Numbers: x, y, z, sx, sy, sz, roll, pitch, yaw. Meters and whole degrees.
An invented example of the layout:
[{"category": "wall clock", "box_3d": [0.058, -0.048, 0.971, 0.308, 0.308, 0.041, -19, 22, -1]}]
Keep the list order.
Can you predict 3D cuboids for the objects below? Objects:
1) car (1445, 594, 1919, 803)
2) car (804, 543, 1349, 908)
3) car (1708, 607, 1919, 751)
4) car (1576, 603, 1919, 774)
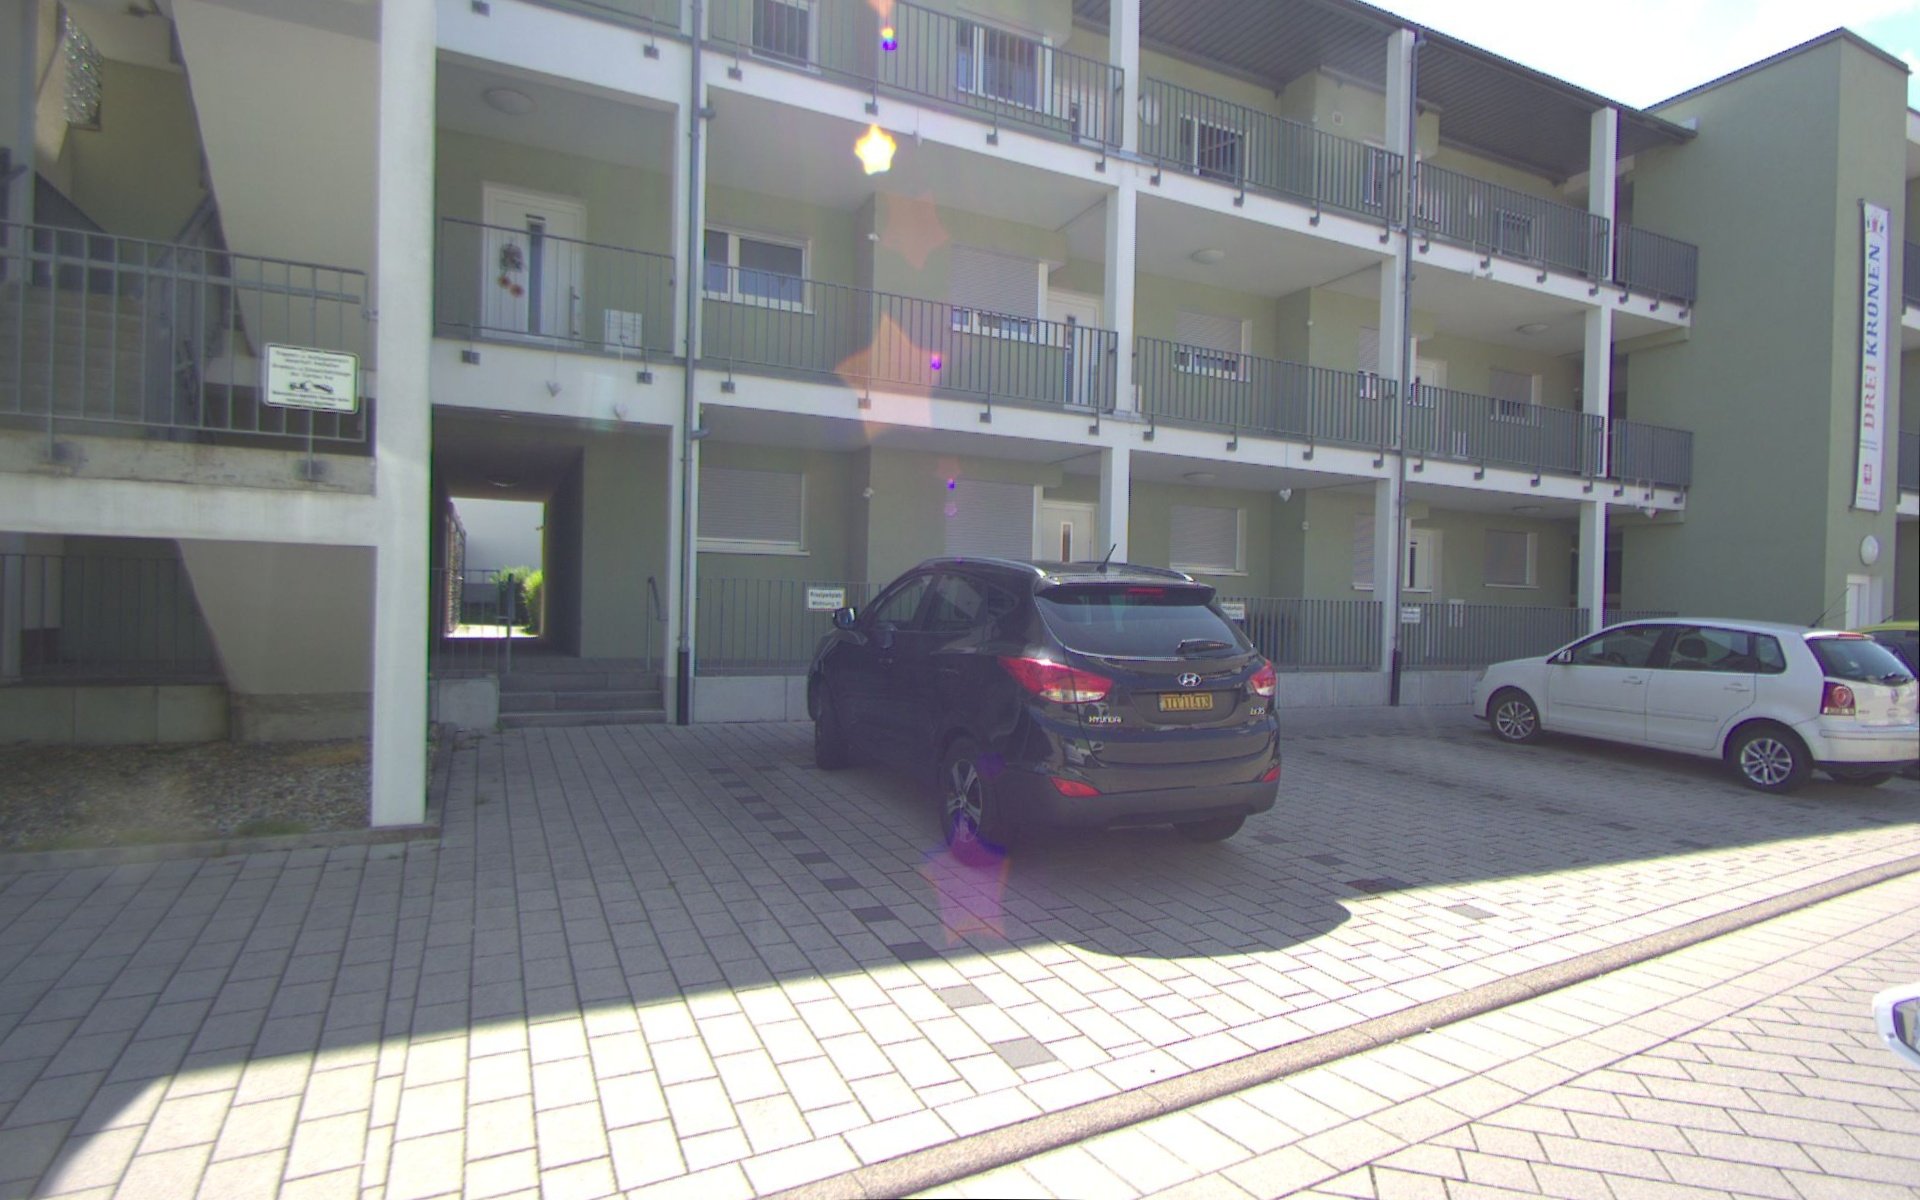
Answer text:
[{"category": "car", "box_3d": [7.222, 0.805, 10.225, 1.726, 1.523, 3.890, 1, 2, -24]}, {"category": "car", "box_3d": [0.376, 0.513, 6.890, 1.760, 1.681, 4.206, 1, 2, -24]}, {"category": "car", "box_3d": [11.672, 0.962, 12.273, 1.650, 1.546, 3.681, 1, 2, -25]}, {"category": "car", "box_3d": [9.417, 0.892, 11.253, 1.668, 1.461, 3.973, 1, 3, -25]}]
